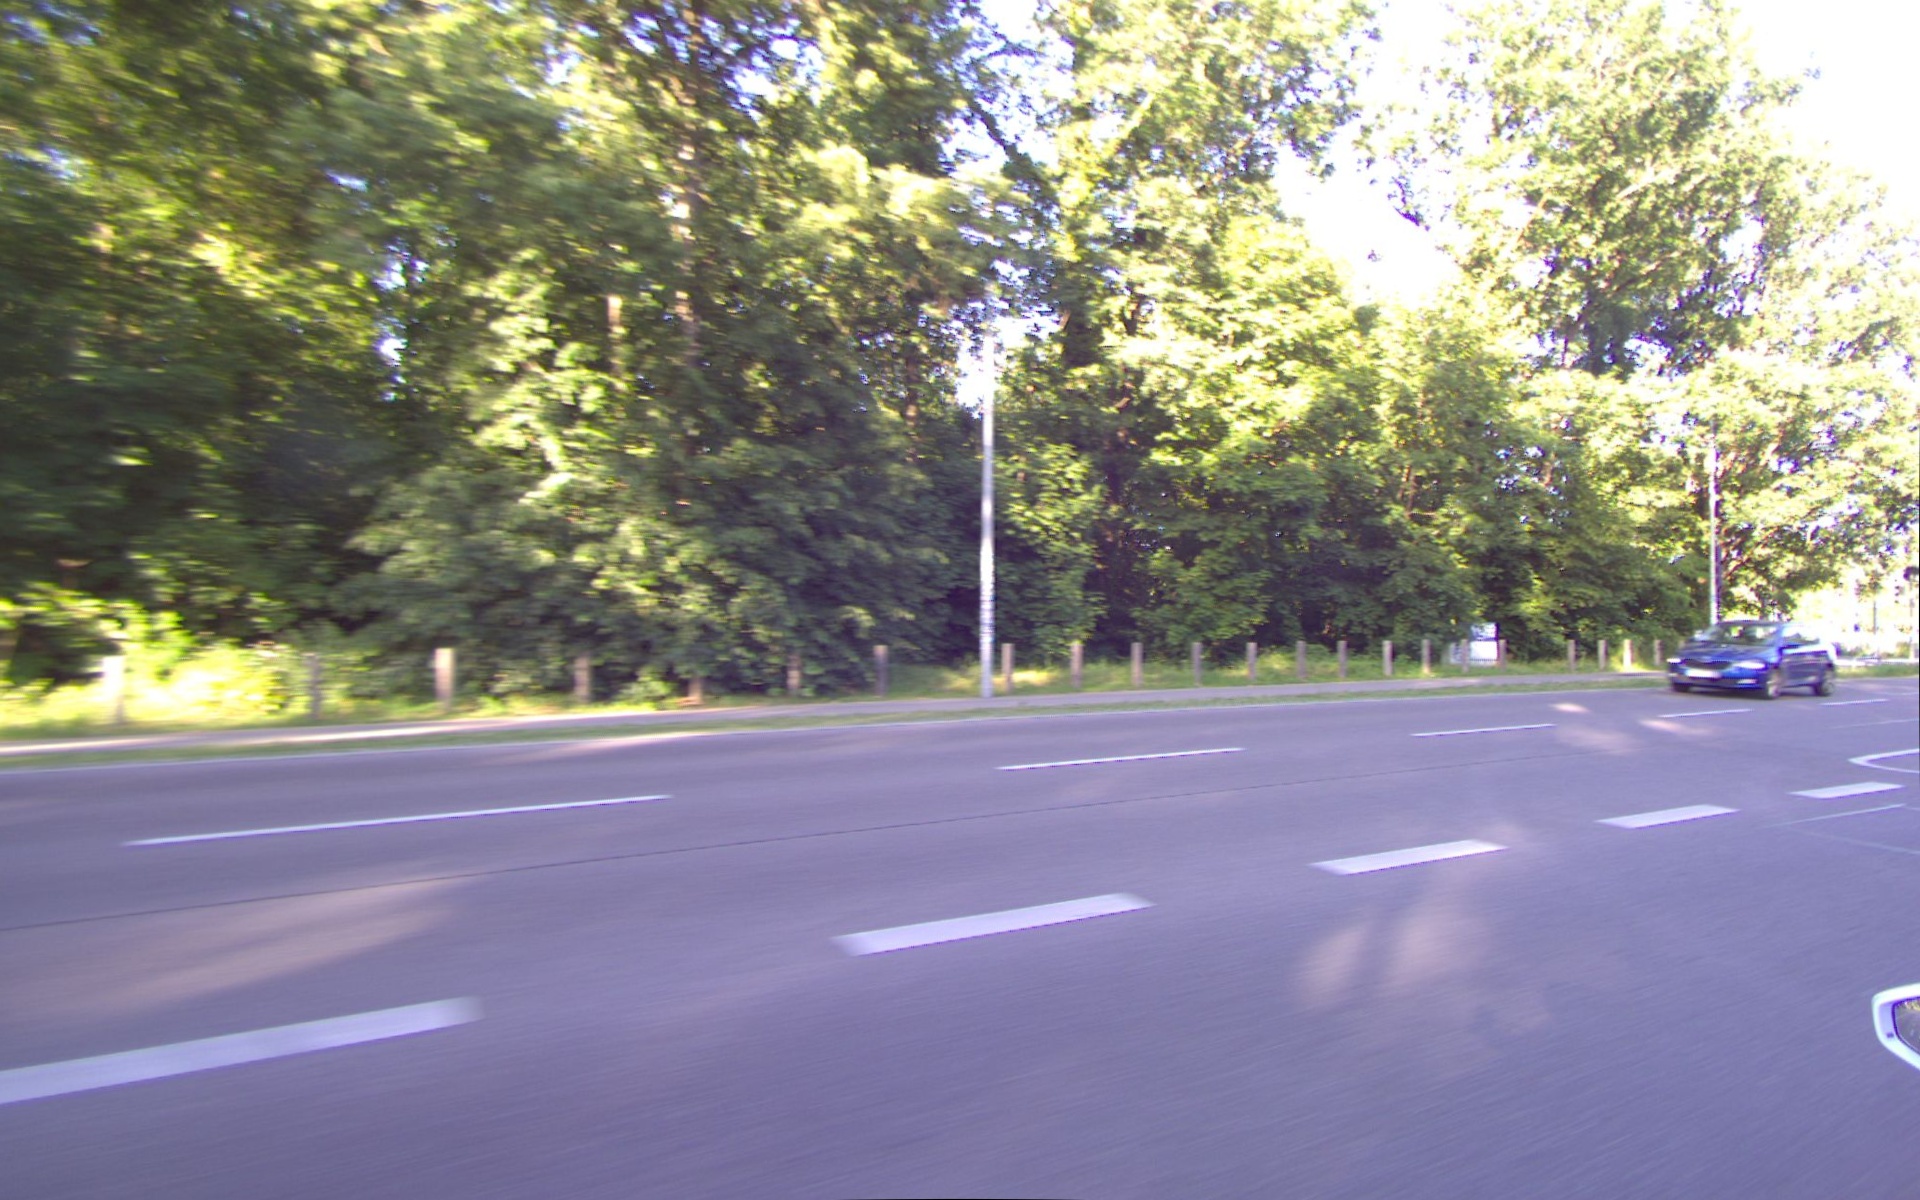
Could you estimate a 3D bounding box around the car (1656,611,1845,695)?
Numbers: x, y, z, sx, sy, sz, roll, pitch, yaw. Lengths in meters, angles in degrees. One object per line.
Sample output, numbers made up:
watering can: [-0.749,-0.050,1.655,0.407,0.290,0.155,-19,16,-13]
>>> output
car: [15.772,1.007,20.017,3.953,1.528,1.648,1,-1,-30]
